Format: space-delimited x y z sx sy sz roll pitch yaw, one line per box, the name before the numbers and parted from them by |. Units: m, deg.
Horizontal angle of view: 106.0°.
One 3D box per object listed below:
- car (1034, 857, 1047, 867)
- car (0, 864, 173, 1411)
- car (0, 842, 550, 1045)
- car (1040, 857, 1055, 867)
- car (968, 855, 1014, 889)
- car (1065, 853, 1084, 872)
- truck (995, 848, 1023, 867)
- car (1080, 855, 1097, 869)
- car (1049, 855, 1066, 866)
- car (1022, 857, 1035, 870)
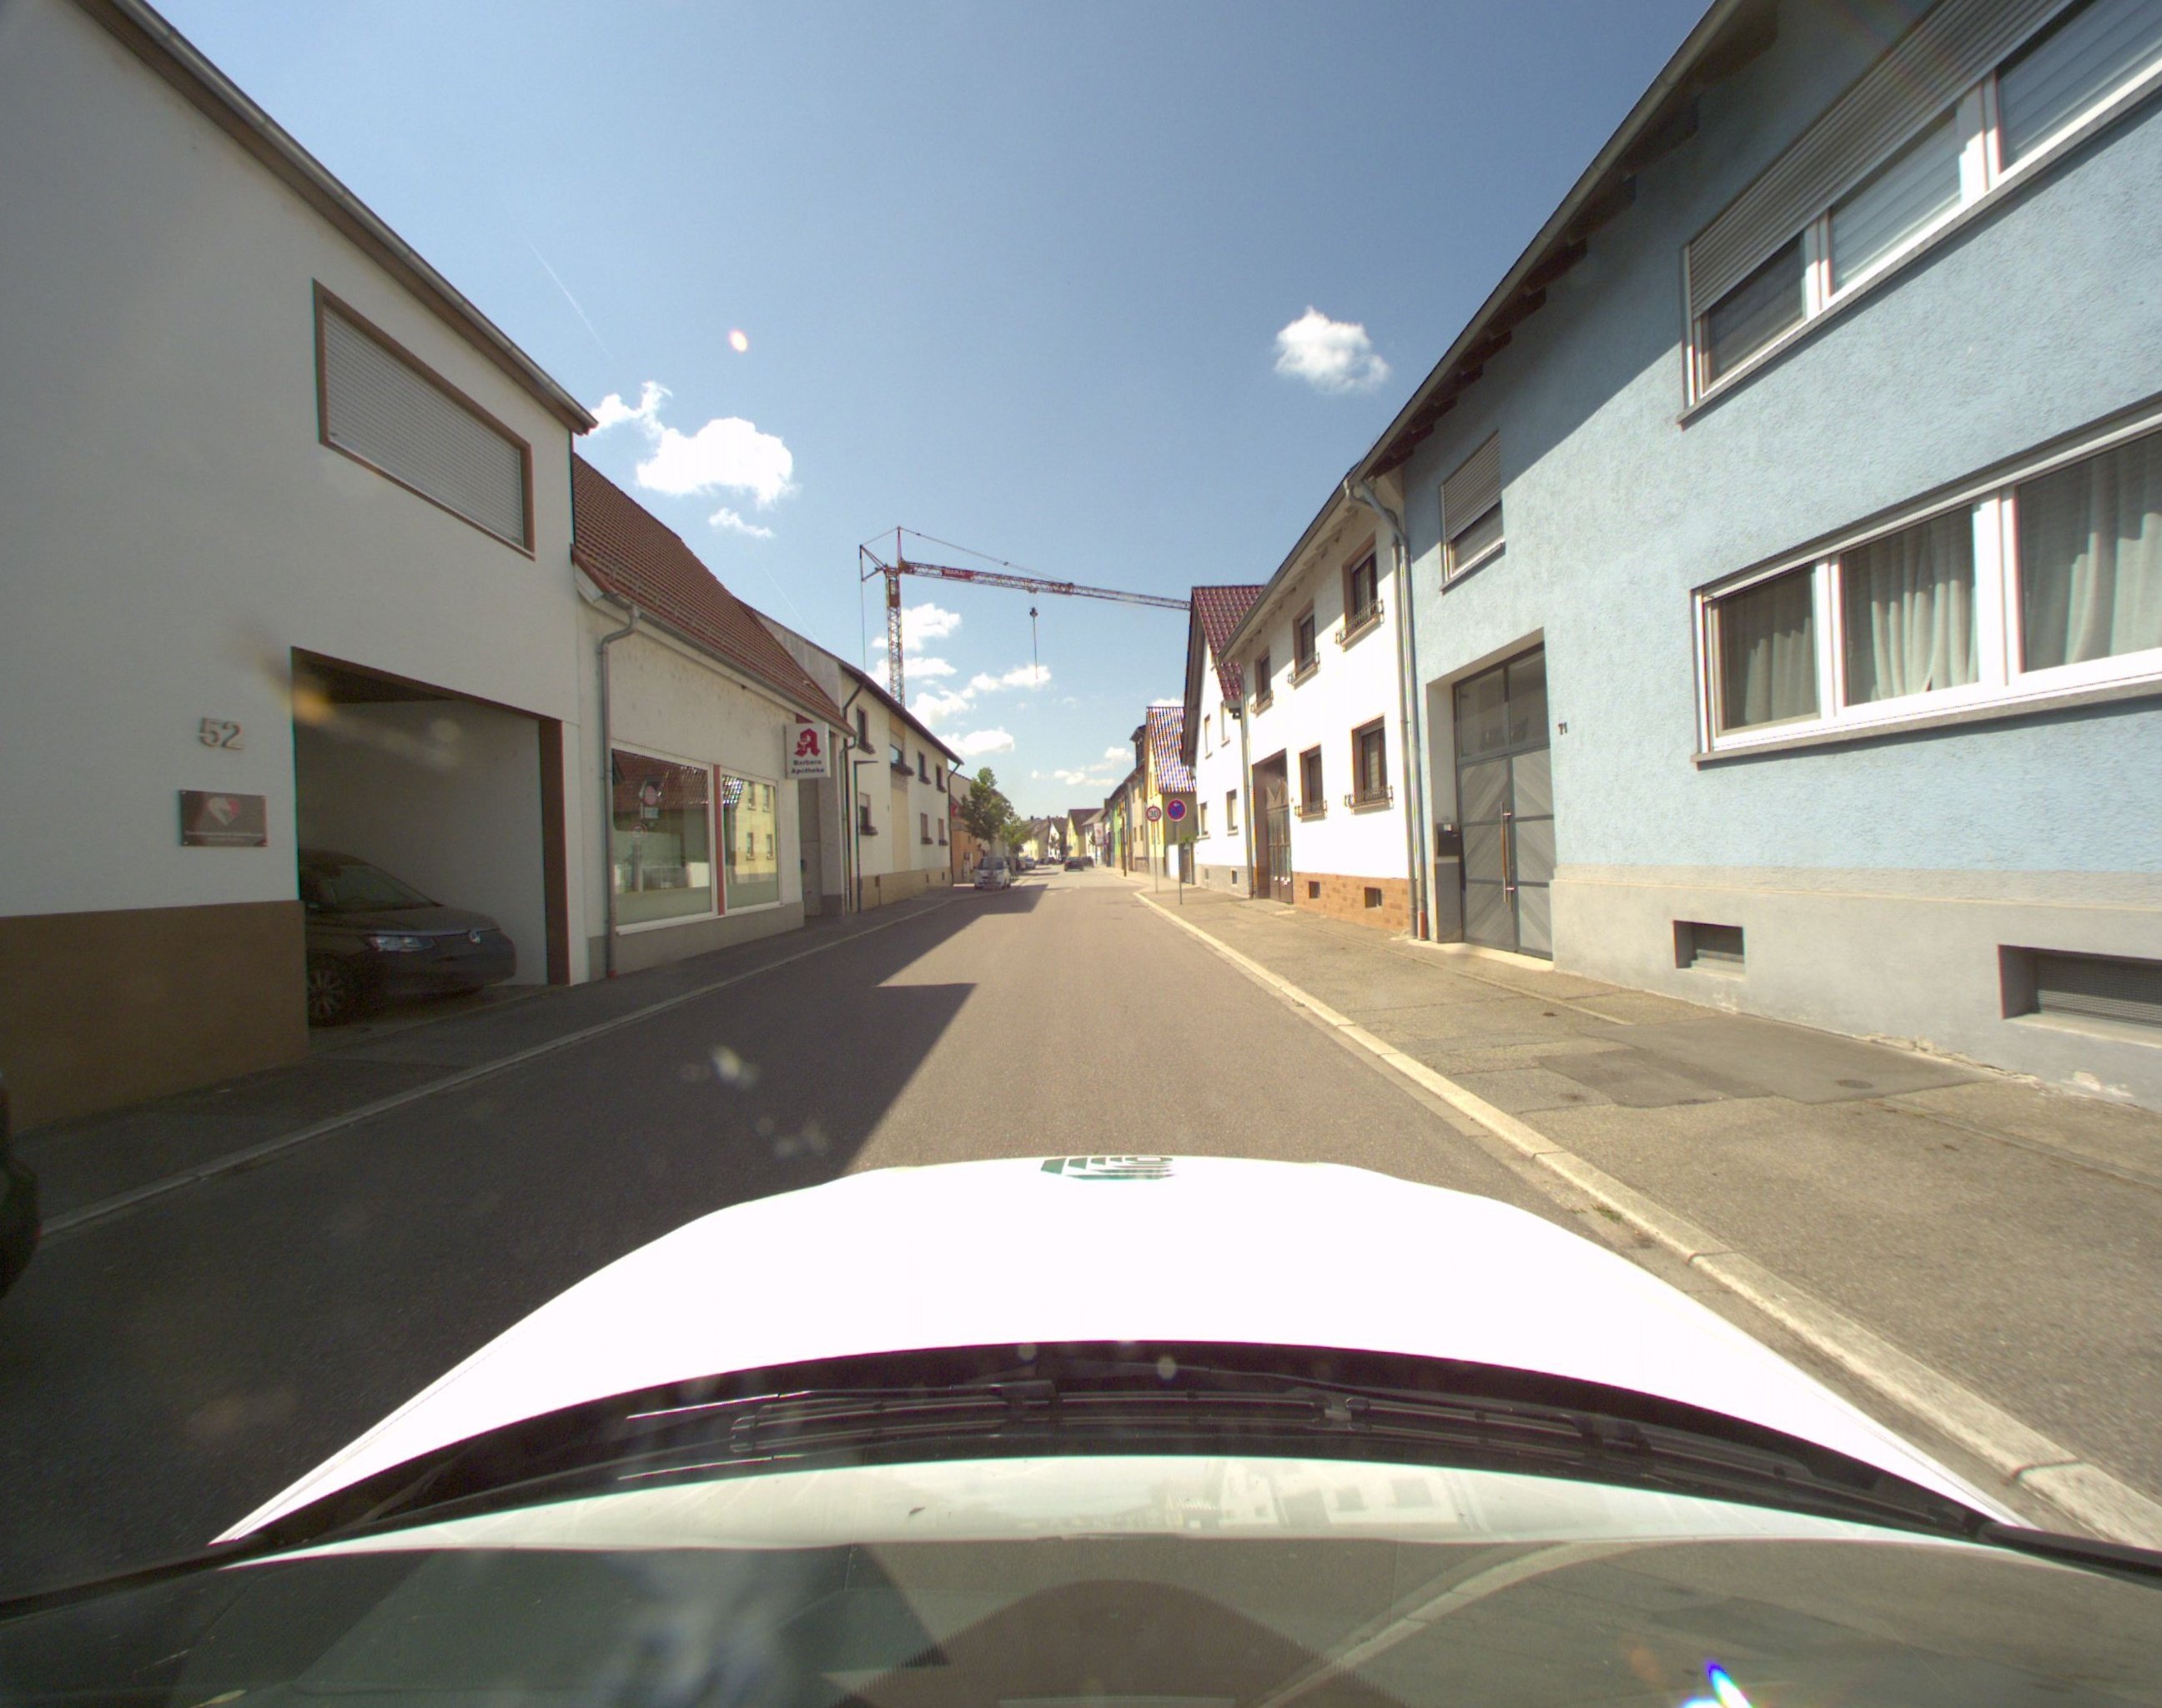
car | -8.236 1.592 163.777 1.823 1.753 4.209 -3 -1 -13
car | -4.016 0.870 0.812 1.648 1.609 4.059 -2 0 -1
car | -8.454 0.851 8.692 4.229 1.748 1.879 -2 0 -2
car | -6.464 1.517 156.314 1.825 1.753 4.205 -3 -1 -16
car | -4.317 0.827 39.657 1.717 1.555 4.171 -1 0 0
car | -0.689 0.842 82.136 1.778 1.753 3.997 -3 0 -2
truck | -16.311 0.930 183.728 3.387 3.865 13.845 -3 -1 -17
car | 0.952 0.955 99.985 1.778 1.564 4.332 -3 0 -3
car | -4.250 1.186 146.675 1.787 1.753 4.203 -3 -1 -17
car | -7.059 1.226 108.833 1.731 1.687 4.225 0 -1 -4
